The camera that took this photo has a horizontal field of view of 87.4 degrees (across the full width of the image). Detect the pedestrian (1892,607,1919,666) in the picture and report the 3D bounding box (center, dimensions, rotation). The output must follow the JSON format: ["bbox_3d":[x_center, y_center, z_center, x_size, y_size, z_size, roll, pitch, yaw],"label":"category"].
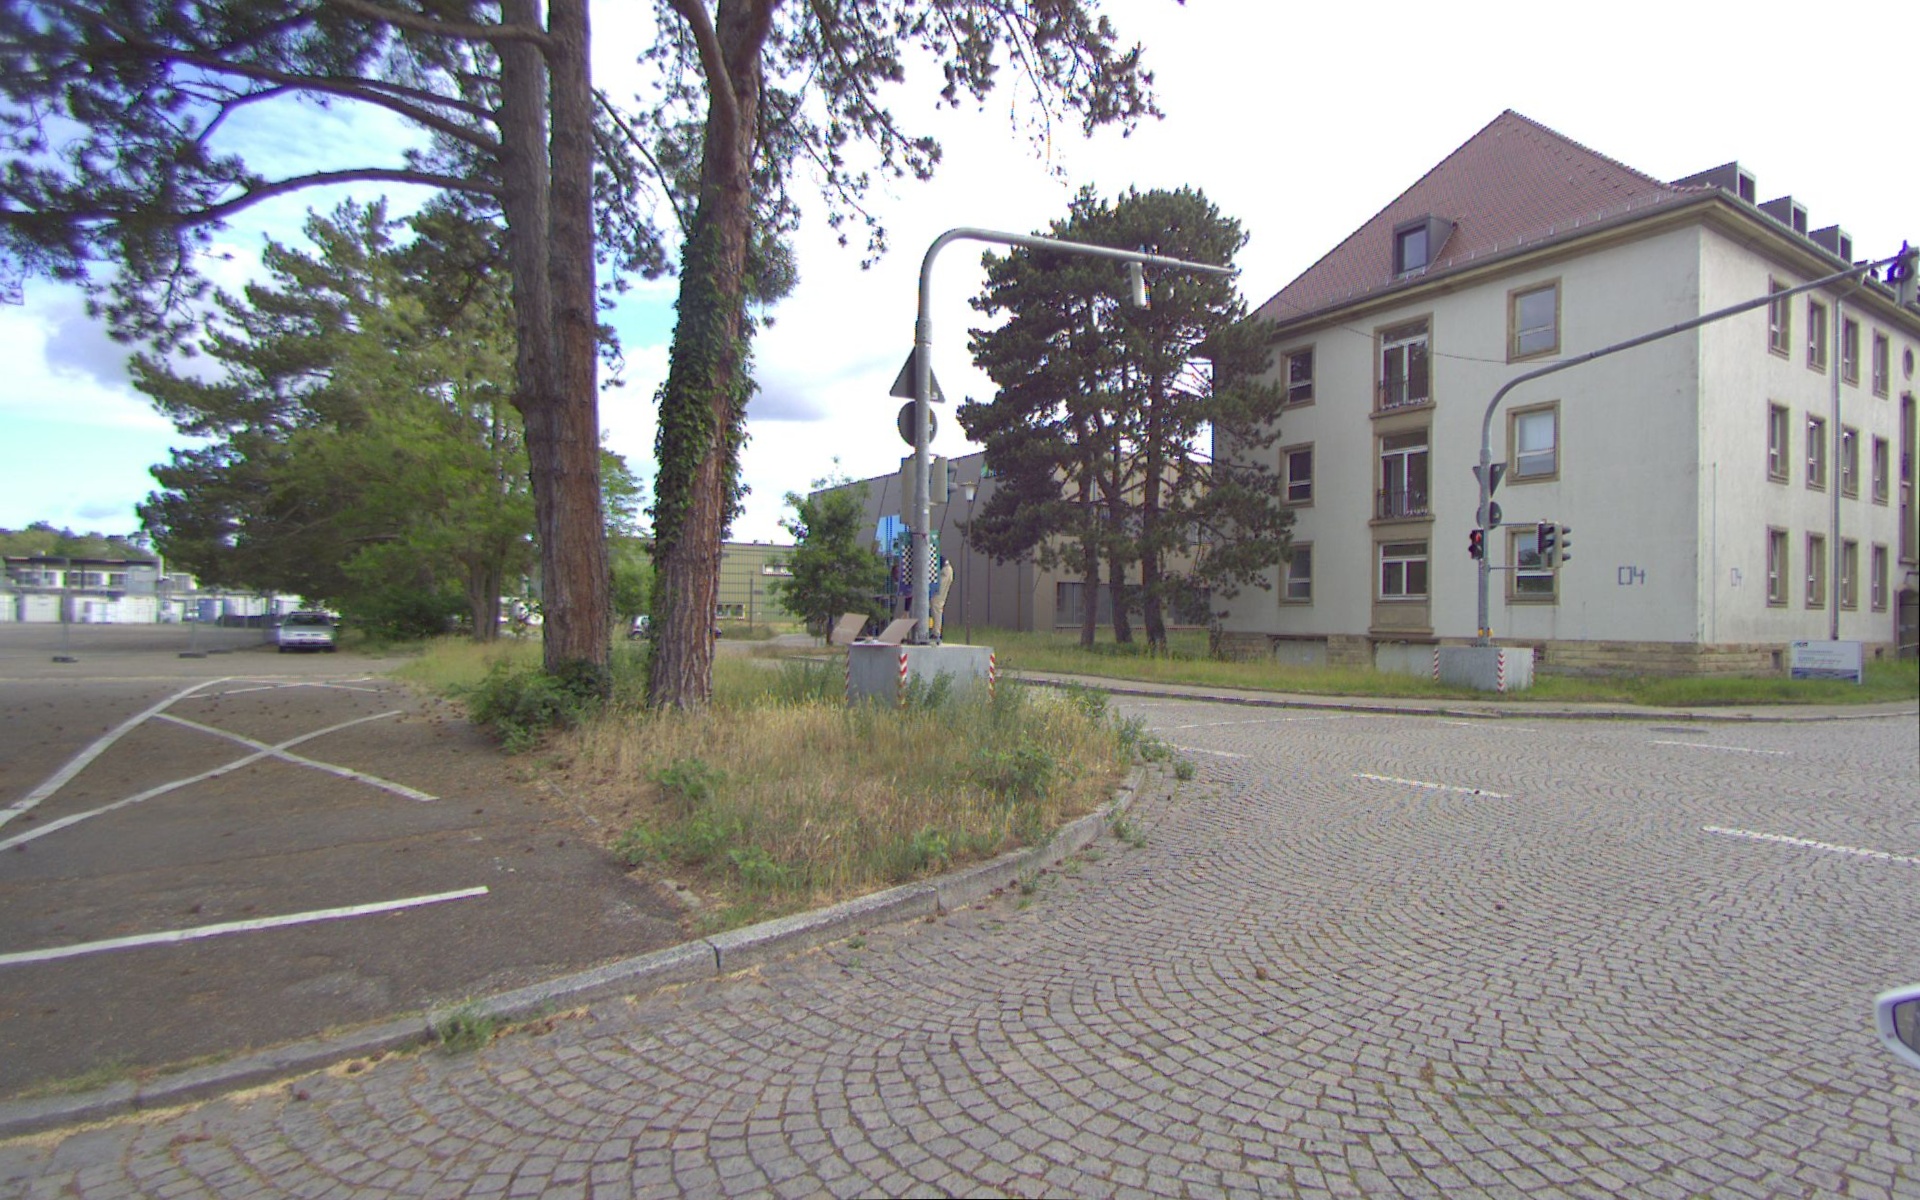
[{"bbox_3d":[33.173,1.255,34.773,1.009,2.040,1.083,1,-1,-27],"label":"pedestrian"}]

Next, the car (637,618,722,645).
[{"bbox_3d":[-16.415,1.810,58.854,4.409,1.449,1.983,-1,0,-32],"label":"car"}]

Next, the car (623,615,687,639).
[{"bbox_3d":[-19.884,1.759,65.411,3.618,1.449,1.983,-1,0,-32],"label":"car"}]

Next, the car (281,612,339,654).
[{"bbox_3d":[-23.647,1.167,36.497,1.680,1.410,3.962,1,-1,-34],"label":"car"}]
